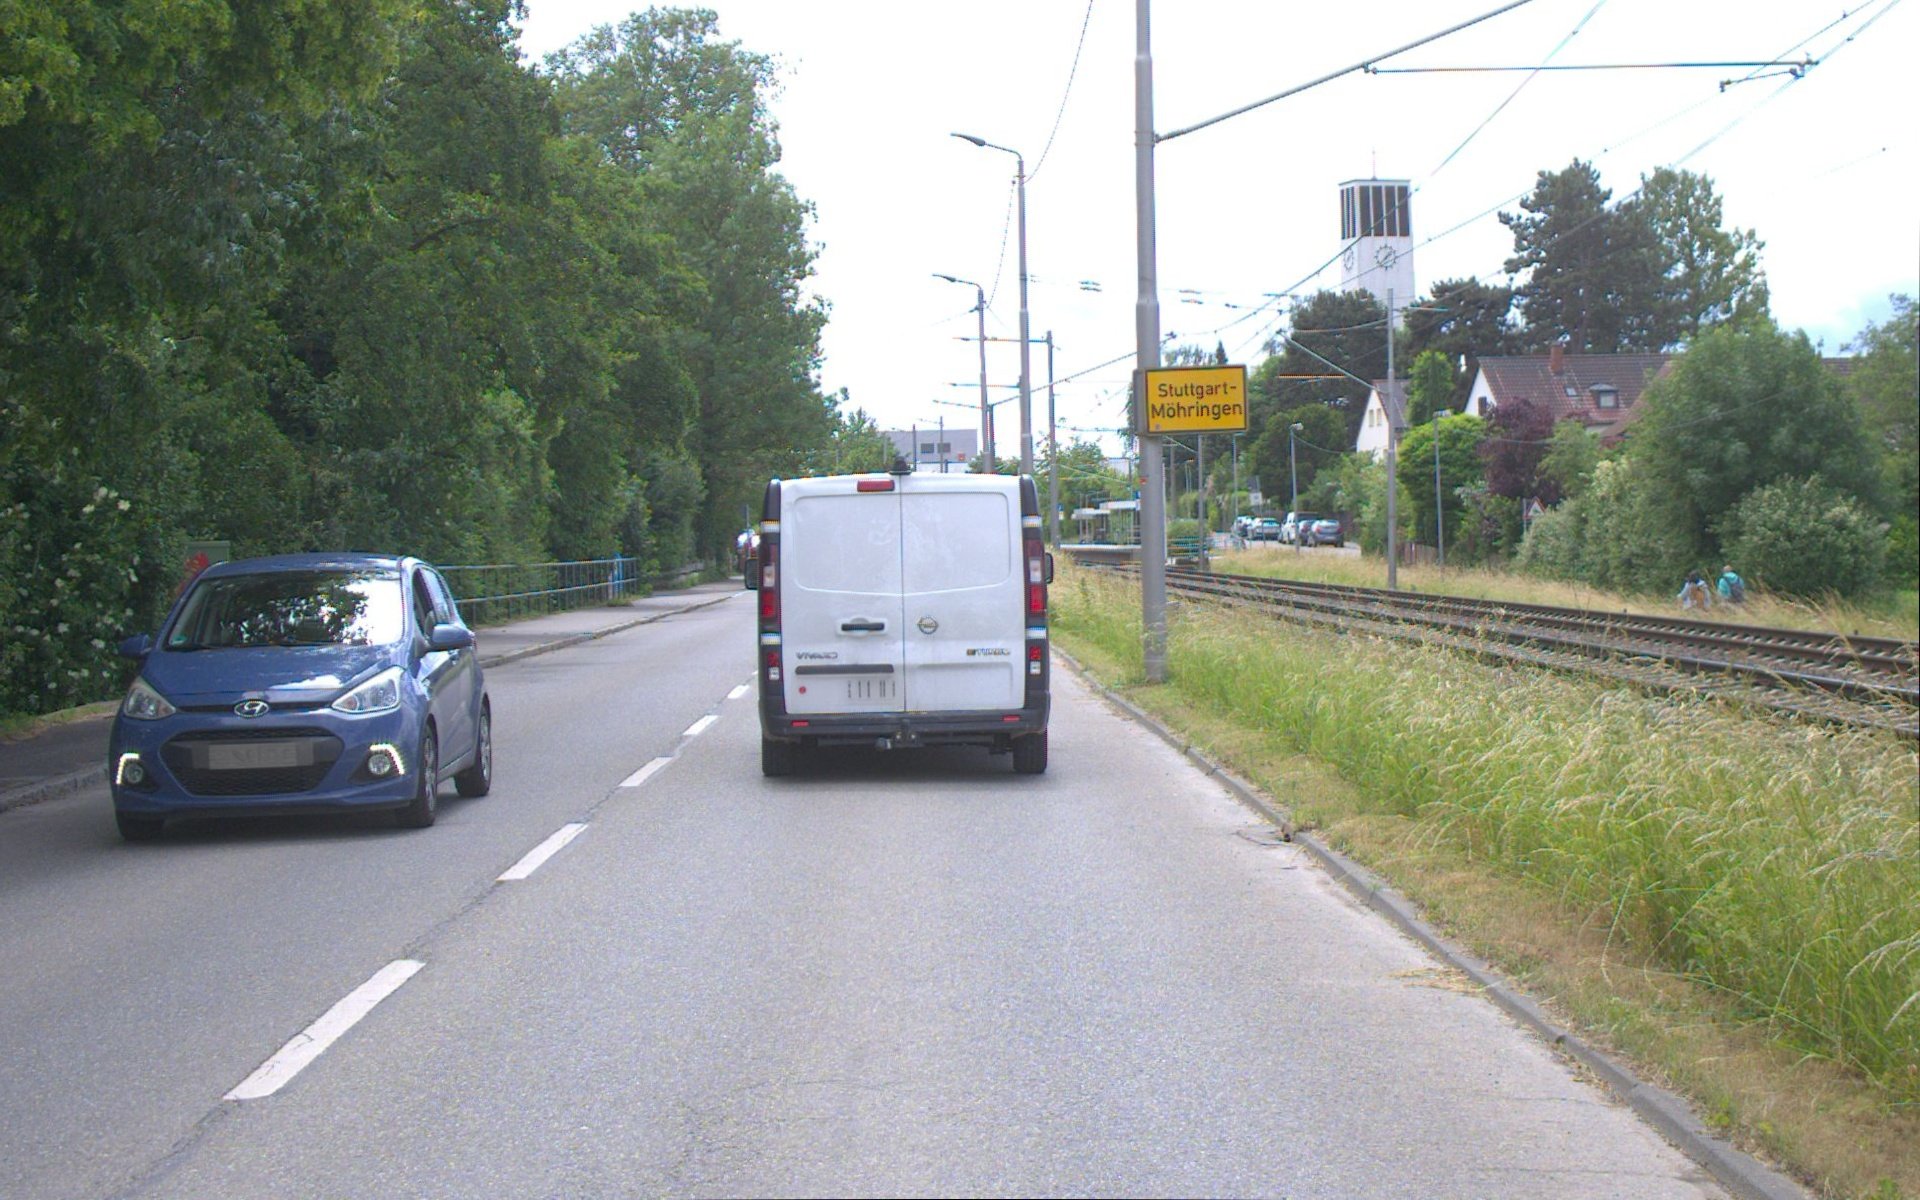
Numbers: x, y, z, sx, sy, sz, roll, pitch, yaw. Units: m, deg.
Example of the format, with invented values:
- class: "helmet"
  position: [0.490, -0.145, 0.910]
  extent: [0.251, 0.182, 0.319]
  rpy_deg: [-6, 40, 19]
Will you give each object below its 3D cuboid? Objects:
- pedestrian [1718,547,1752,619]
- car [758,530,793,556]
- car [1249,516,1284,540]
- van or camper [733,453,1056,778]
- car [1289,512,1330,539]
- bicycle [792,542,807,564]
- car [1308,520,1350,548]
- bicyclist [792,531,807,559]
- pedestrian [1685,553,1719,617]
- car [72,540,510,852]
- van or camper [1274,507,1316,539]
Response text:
- class: "pedestrian"
  position: [17.637, -0.388, 78.201]
  extent: [0.616, 1.616, 0.584]
  rpy_deg: [1, 1, 0]
- class: "car"
  position: [-11.402, -3.533, 212.082]
  extent: [1.736, 1.499, 4.479]
  rpy_deg: [-3, 2, -7]
- class: "car"
  position: [19.847, -4.645, 222.524]
  extent: [1.883, 1.517, 4.000]
  rpy_deg: [-1, 1, 0]
- class: "van or camper"
  position: [-0.424, 0.066, 23.462]
  extent: [1.993, 2.007, 4.446]
  rpy_deg: [0, 1, 0]
- class: "car"
  position: [19.930, -4.242, 196.097]
  extent: [1.883, 1.517, 4.000]
  rpy_deg: [-1, 1, 0]
- class: "bicycle"
  position: [-9.054, -2.659, 194.045]
  extent: [0.755, 1.222, 2.308]
  rpy_deg: [-3, 1, -1]
- class: "car"
  position: [20.385, -3.652, 189.980]
  extent: [1.883, 1.517, 4.000]
  rpy_deg: [-1, 1, 0]
- class: "bicyclist"
  position: [-9.075, -3.096, 194.088]
  extent: [0.778, 1.544, 0.870]
  rpy_deg: [-2, 1, -1]
- class: "pedestrian"
  position: [16.894, -0.343, 78.295]
  extent: [0.598, 1.425, 0.666]
  rpy_deg: [1, 1, 0]
- class: "car"
  position: [-3.686, 0.466, 19.571]
  extent: [1.706, 1.523, 3.825]
  rpy_deg: [-3, 1, 0]
- class: "van or camper"
  position: [19.544, -4.496, 200.815]
  extent: [1.905, 1.819, 5.048]
  rpy_deg: [-1, 1, 0]
